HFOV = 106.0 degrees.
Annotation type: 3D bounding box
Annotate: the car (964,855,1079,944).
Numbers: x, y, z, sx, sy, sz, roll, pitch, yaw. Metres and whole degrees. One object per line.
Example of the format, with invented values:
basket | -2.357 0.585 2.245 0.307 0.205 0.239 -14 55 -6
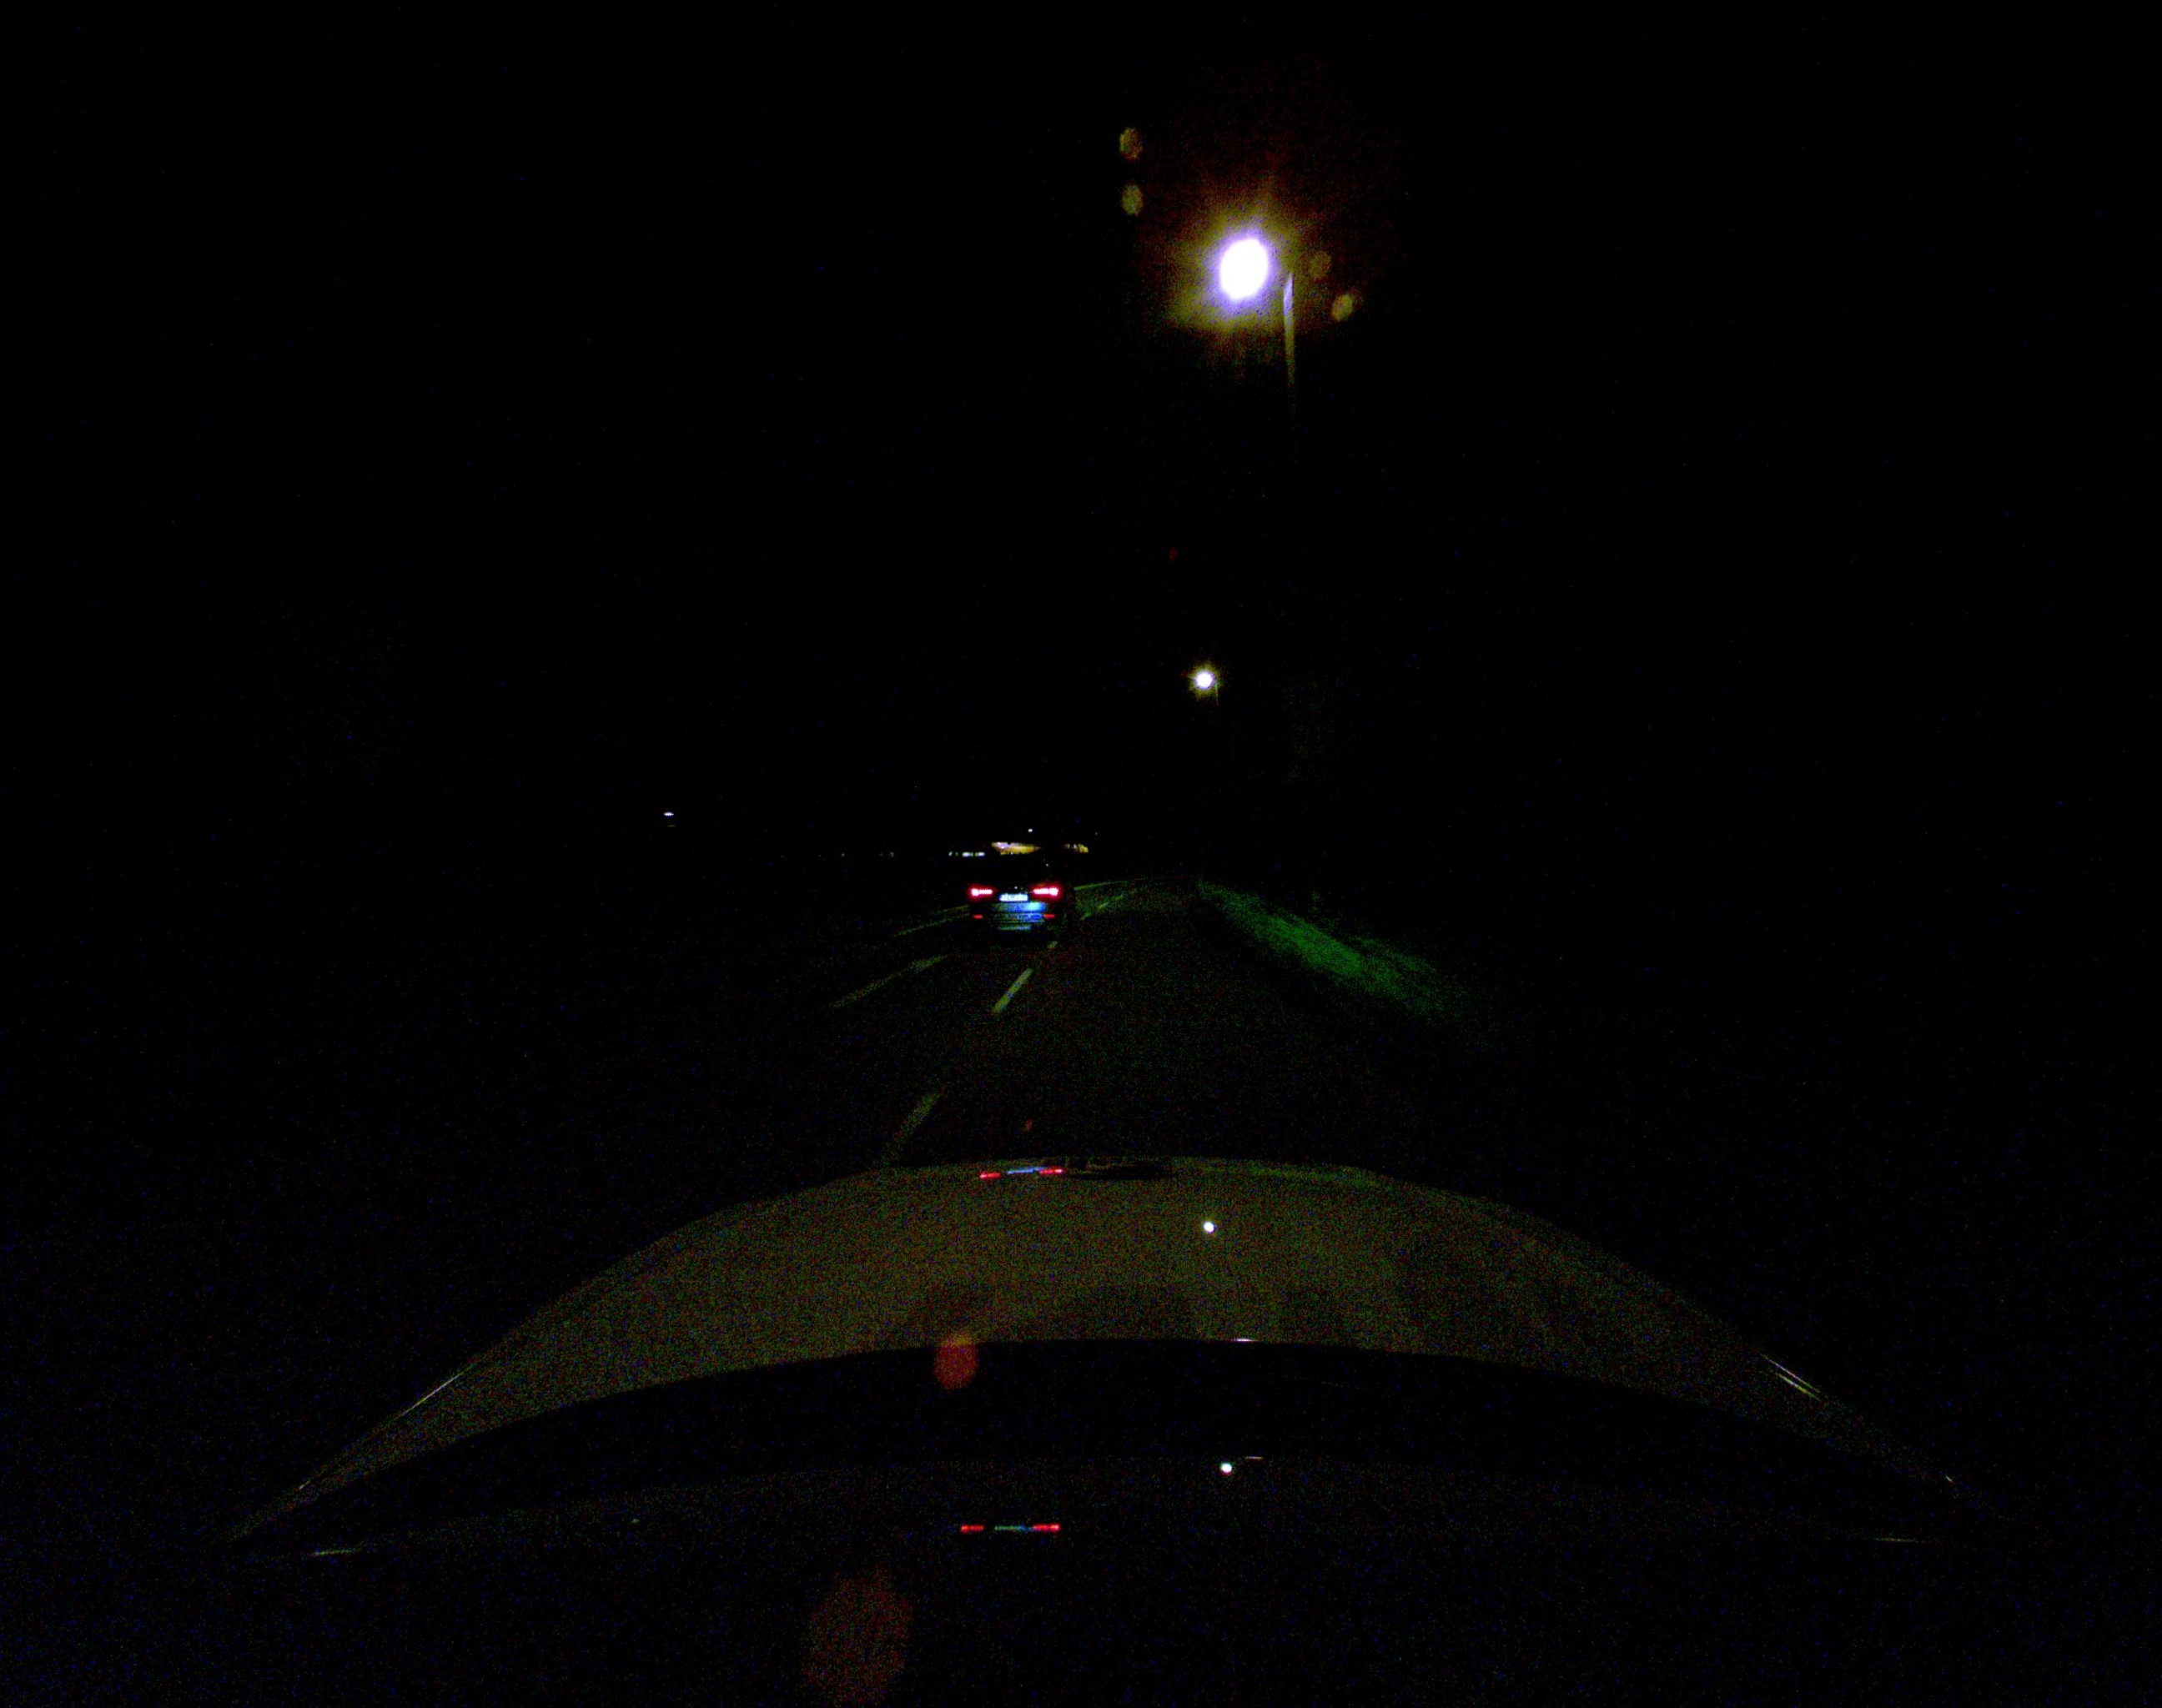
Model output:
car | -1.081 0.819 16.615 1.844 1.582 4.010 0 0 3
